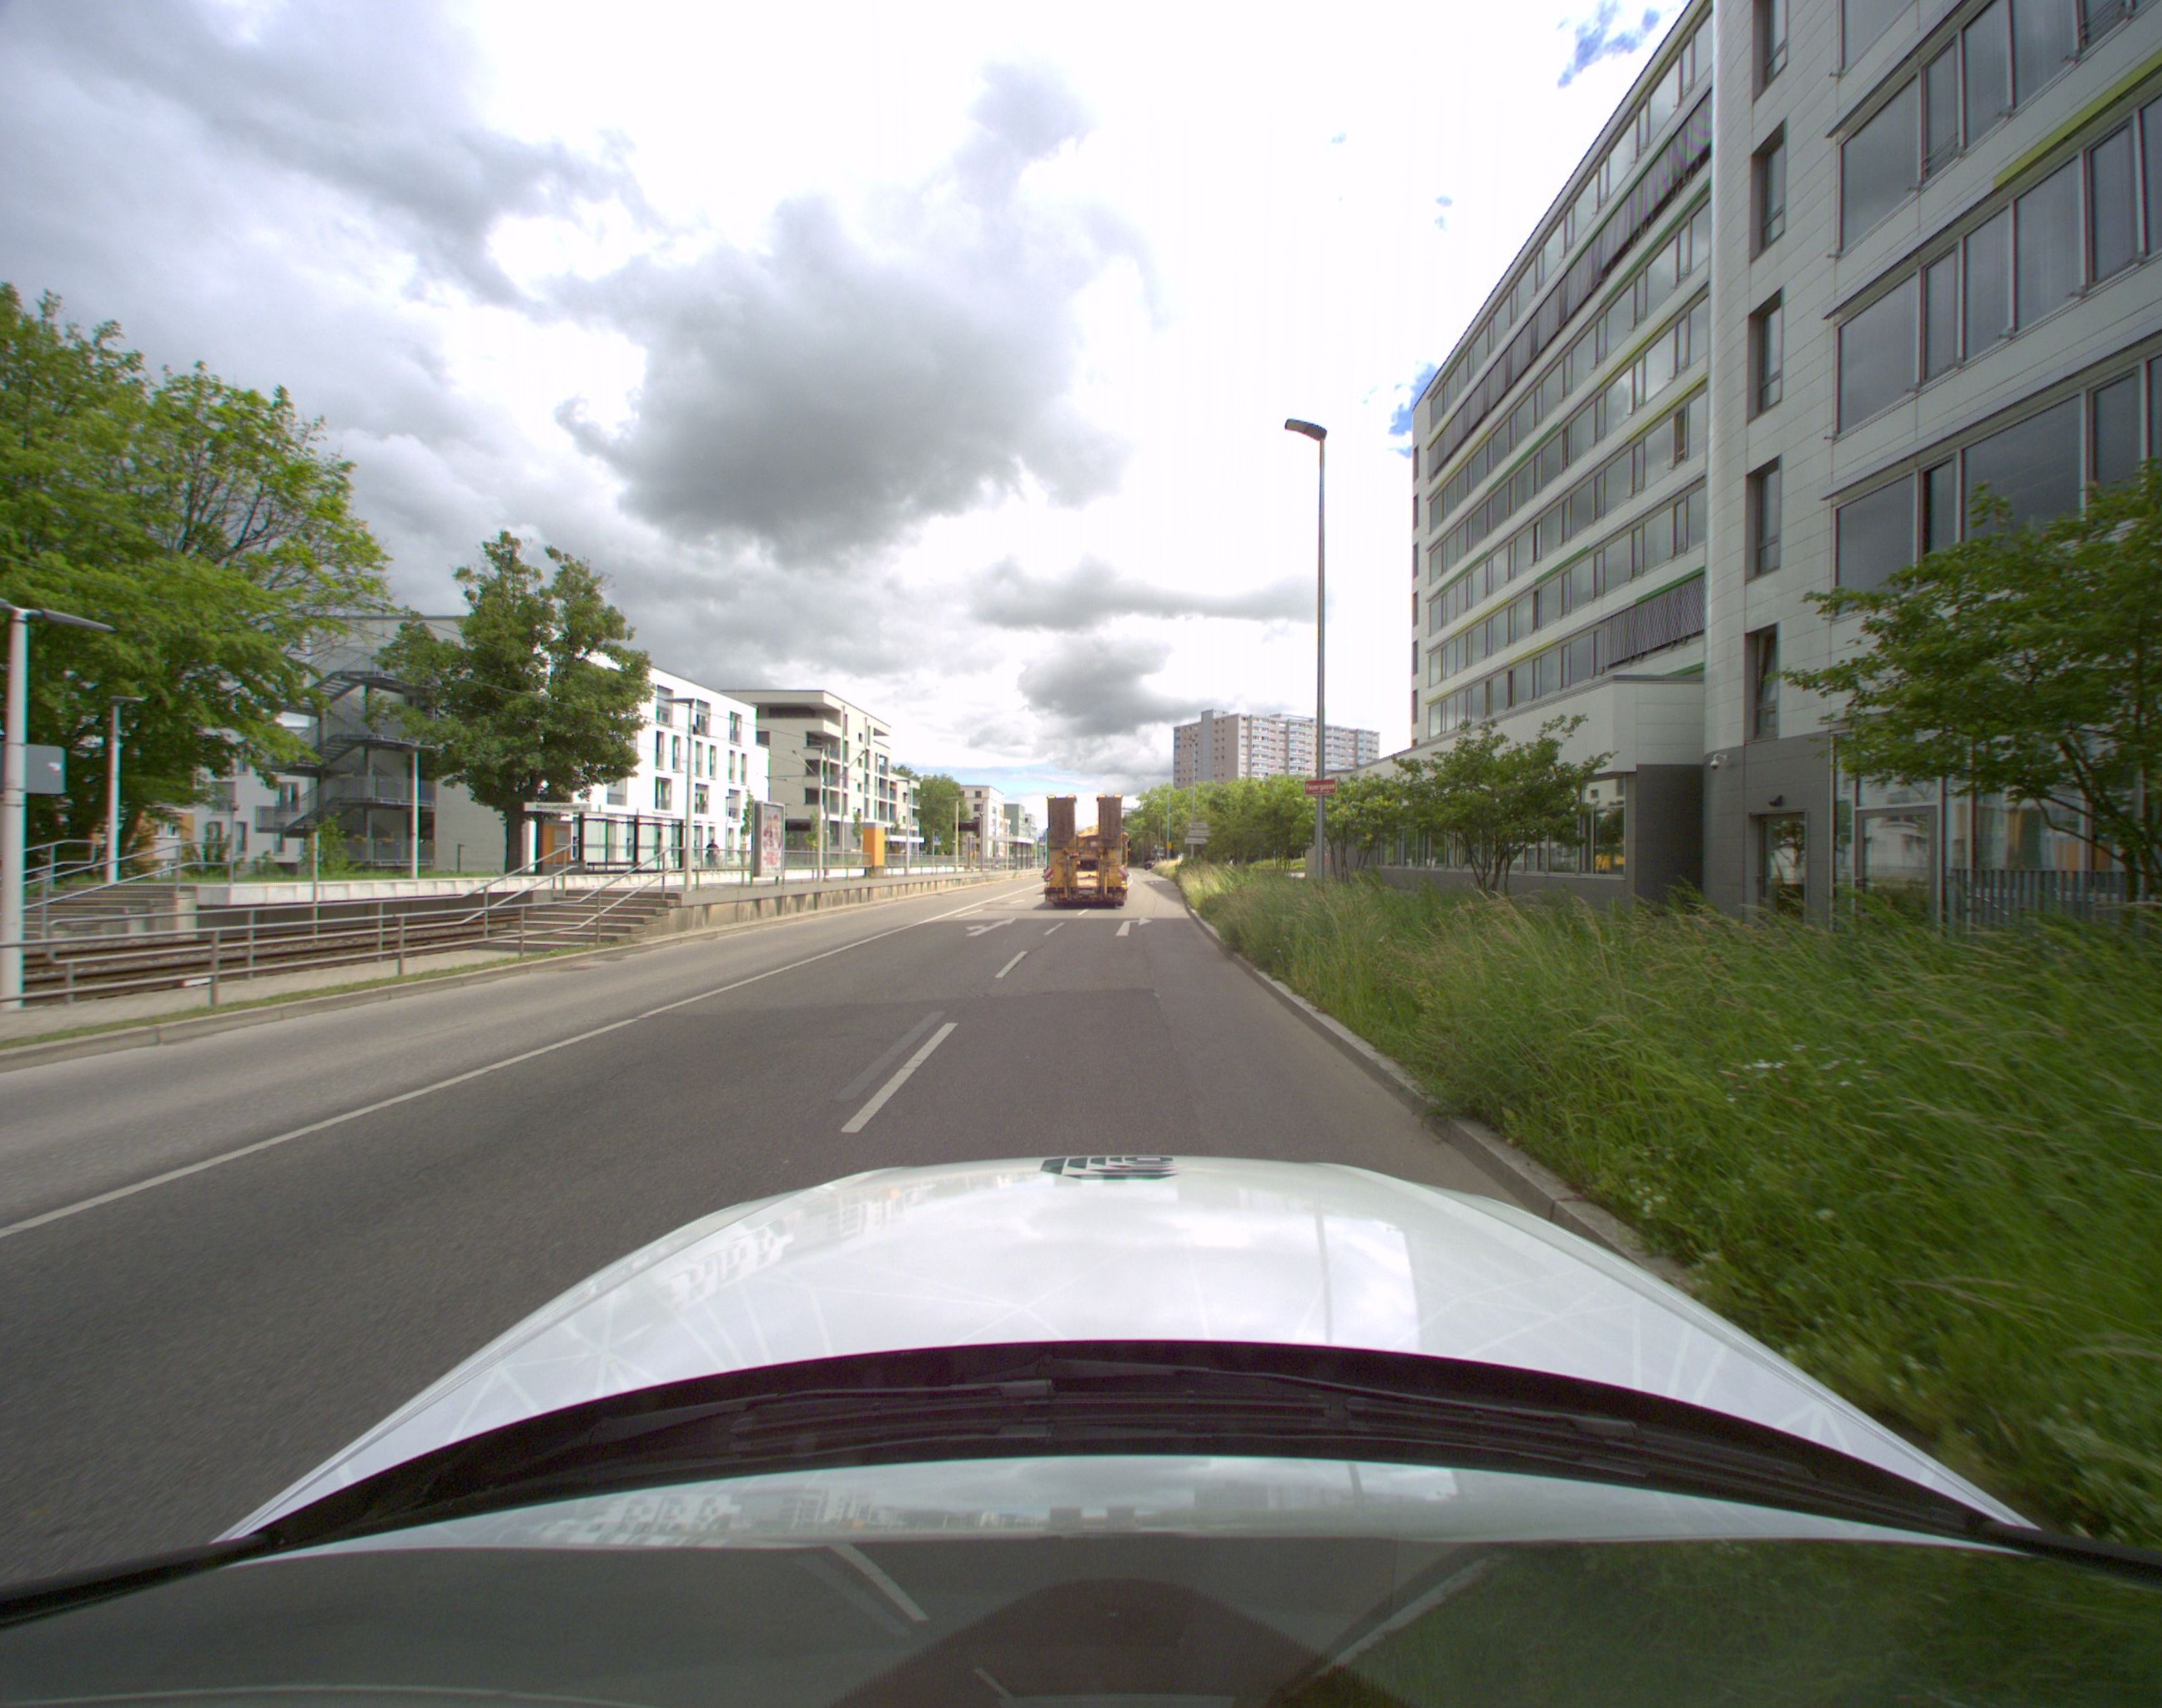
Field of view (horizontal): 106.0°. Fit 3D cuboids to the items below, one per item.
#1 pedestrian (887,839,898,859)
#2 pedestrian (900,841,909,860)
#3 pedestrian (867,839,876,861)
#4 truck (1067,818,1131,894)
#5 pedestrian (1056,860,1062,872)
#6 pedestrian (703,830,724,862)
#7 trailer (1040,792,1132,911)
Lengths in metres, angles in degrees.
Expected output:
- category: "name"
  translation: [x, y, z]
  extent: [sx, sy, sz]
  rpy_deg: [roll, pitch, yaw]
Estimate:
- category: "pedestrian"
  translation: [-15.694, -0.419, 67.737]
  extent: [0.482, 1.597, 0.682]
  rpy_deg: [0, -1, 38]
- category: "pedestrian"
  translation: [-16.487, -0.318, 76.098]
  extent: [0.559, 1.766, 0.678]
  rpy_deg: [0, -1, 5]
- category: "pedestrian"
  translation: [-17.244, -0.331, 66.974]
  extent: [0.490, 1.725, 0.671]
  rpy_deg: [1, -1, -31]
- category: "truck"
  translation: [1.004, 0.115, 39.792]
  extent: [2.742, 3.313, 8.358]
  rpy_deg: [1, 0, 3]
- category: "pedestrian"
  translation: [-2.998, 1.611, 110.204]
  extent: [0.679, 1.603, 0.823]
  rpy_deg: [1, -1, 2]
- category: "pedestrian"
  translation: [-17.651, -0.381, 39.096]
  extent: [0.737, 1.531, 0.548]
  rpy_deg: [0, -1, 6]
- category: "trailer"
  translation: [0.461, -0.039, 29.995]
  extent: [2.717, 3.559, 11.262]
  rpy_deg: [0, 0, 3]
